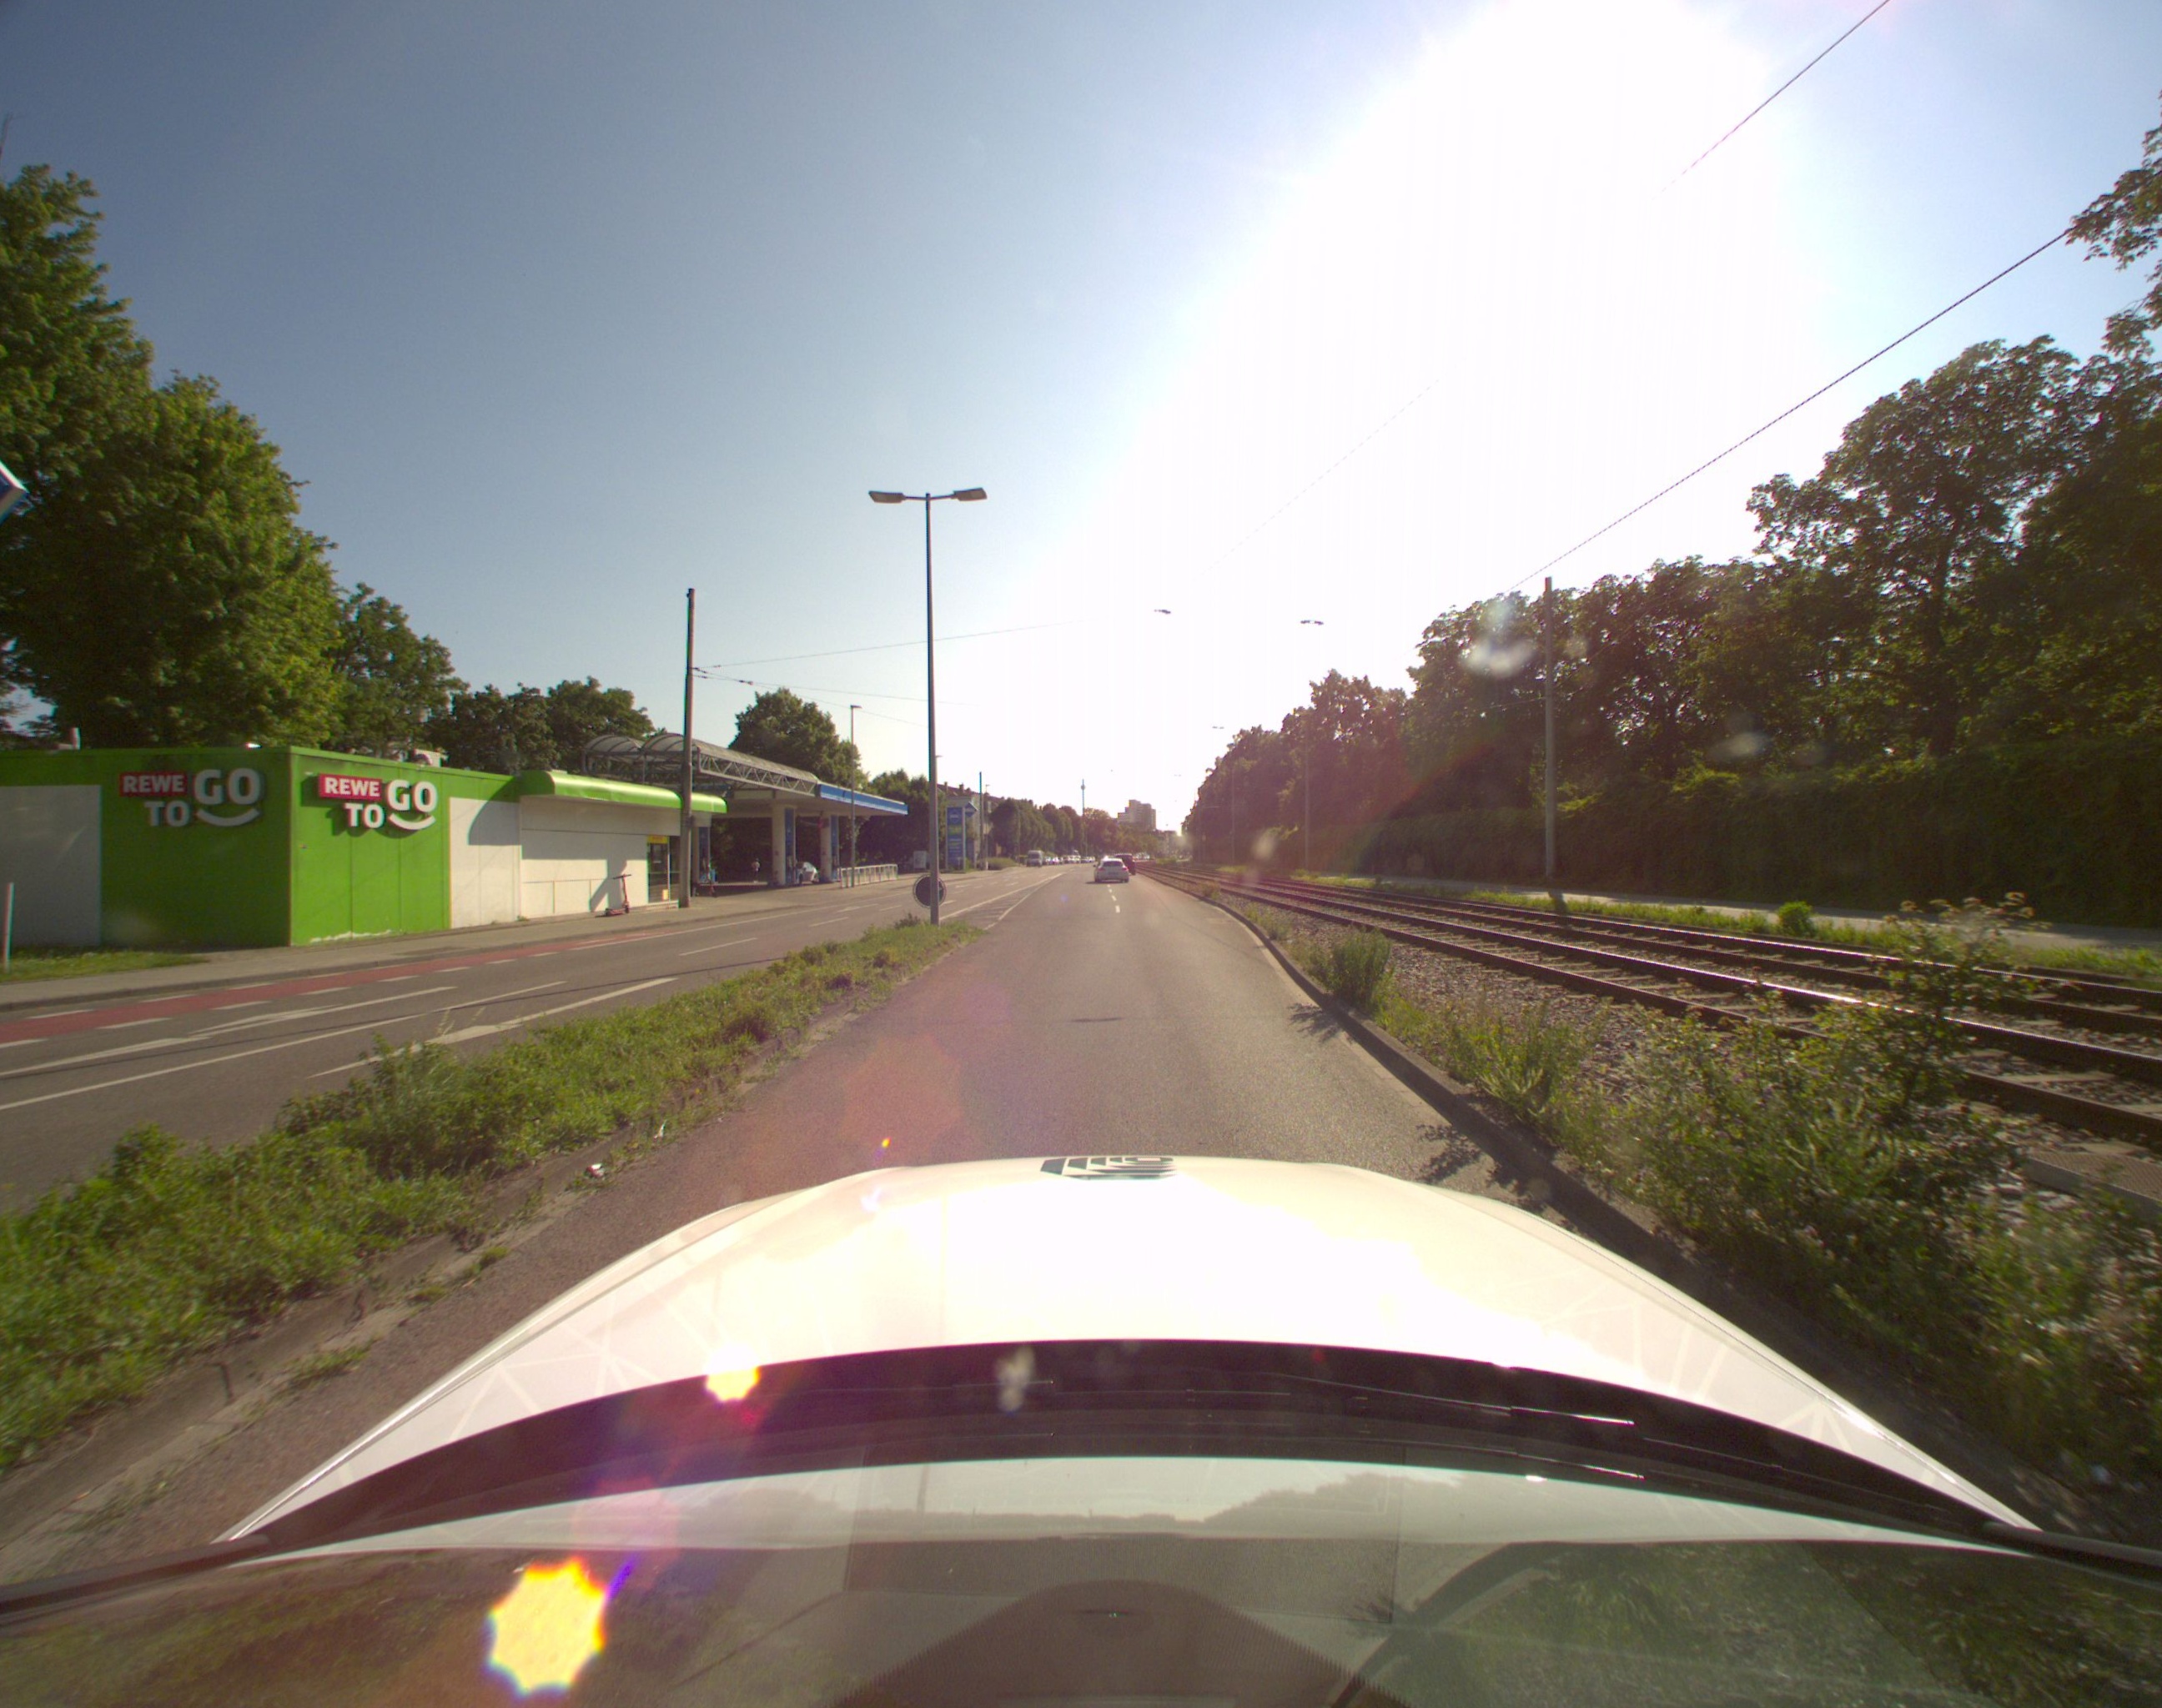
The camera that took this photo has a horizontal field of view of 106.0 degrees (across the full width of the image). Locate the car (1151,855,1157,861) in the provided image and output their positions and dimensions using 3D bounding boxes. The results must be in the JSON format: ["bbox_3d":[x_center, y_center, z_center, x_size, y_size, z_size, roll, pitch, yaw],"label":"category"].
[{"bbox_3d":[21.885,1.202,245.139,1.715,1.593,3.608,1,0,7],"label":"car"}]

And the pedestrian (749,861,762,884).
[{"bbox_3d":[-24.329,1.380,60.868,0.662,1.728,0.846,-1,0,-11],"label":"pedestrian"}]

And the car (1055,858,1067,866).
[{"bbox_3d":[-3.975,1.544,160.035,1.985,1.416,3.847,-1,0,3],"label":"car"}]

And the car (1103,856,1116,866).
[{"bbox_3d":[4.231,1.003,120.621,1.742,1.486,3.603,1,0,2],"label":"car"}]

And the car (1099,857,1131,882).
[{"bbox_3d":[1.917,0.884,47.437,1.774,1.356,3.602,1,0,1],"label":"car"}]

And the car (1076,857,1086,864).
[{"bbox_3d":[-0.005,1.498,192.885,1.985,1.416,3.847,-1,0,3],"label":"car"}]

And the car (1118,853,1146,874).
[{"bbox_3d":[3.895,0.705,62.675,1.720,1.593,3.597,1,0,-3],"label":"car"}]

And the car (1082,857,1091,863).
[{"bbox_3d":[1.330,1.471,197.630,1.985,1.416,3.847,-1,0,3],"label":"car"}]

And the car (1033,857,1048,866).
[{"bbox_3d":[-6.840,1.275,137.647,1.985,1.416,3.847,-1,0,3],"label":"car"}]

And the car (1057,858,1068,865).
[{"bbox_3d":[-3.867,1.625,171.478,1.985,1.416,3.847,-1,0,3],"label":"car"}]

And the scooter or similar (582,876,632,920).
[{"bbox_3d":[-13.761,1.253,23.664,0.530,1.174,1.311,4,0,4],"label":"scooter or similar"}]

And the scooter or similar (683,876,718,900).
[{"bbox_3d":[-16.508,1.487,35.355,1.255,0.987,0.500,-1,0,1],"label":"scooter or similar"}]

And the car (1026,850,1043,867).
[{"bbox_3d":[-6.953,0.675,121.893,1.984,2.376,4.544,-1,0,4],"label":"car"}]

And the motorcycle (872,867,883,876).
[{"bbox_3d":[-21.564,1.801,86.342,0.668,0.901,1.671,-1,0,2],"label":"motorcycle"}]

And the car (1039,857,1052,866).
[{"bbox_3d":[-6.224,1.328,143.343,1.985,1.416,3.847,-1,0,3],"label":"car"}]

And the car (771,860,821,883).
[{"bbox_3d":[-18.680,1.103,53.566,1.738,1.393,4.120,-1,0,0],"label":"car"}]
